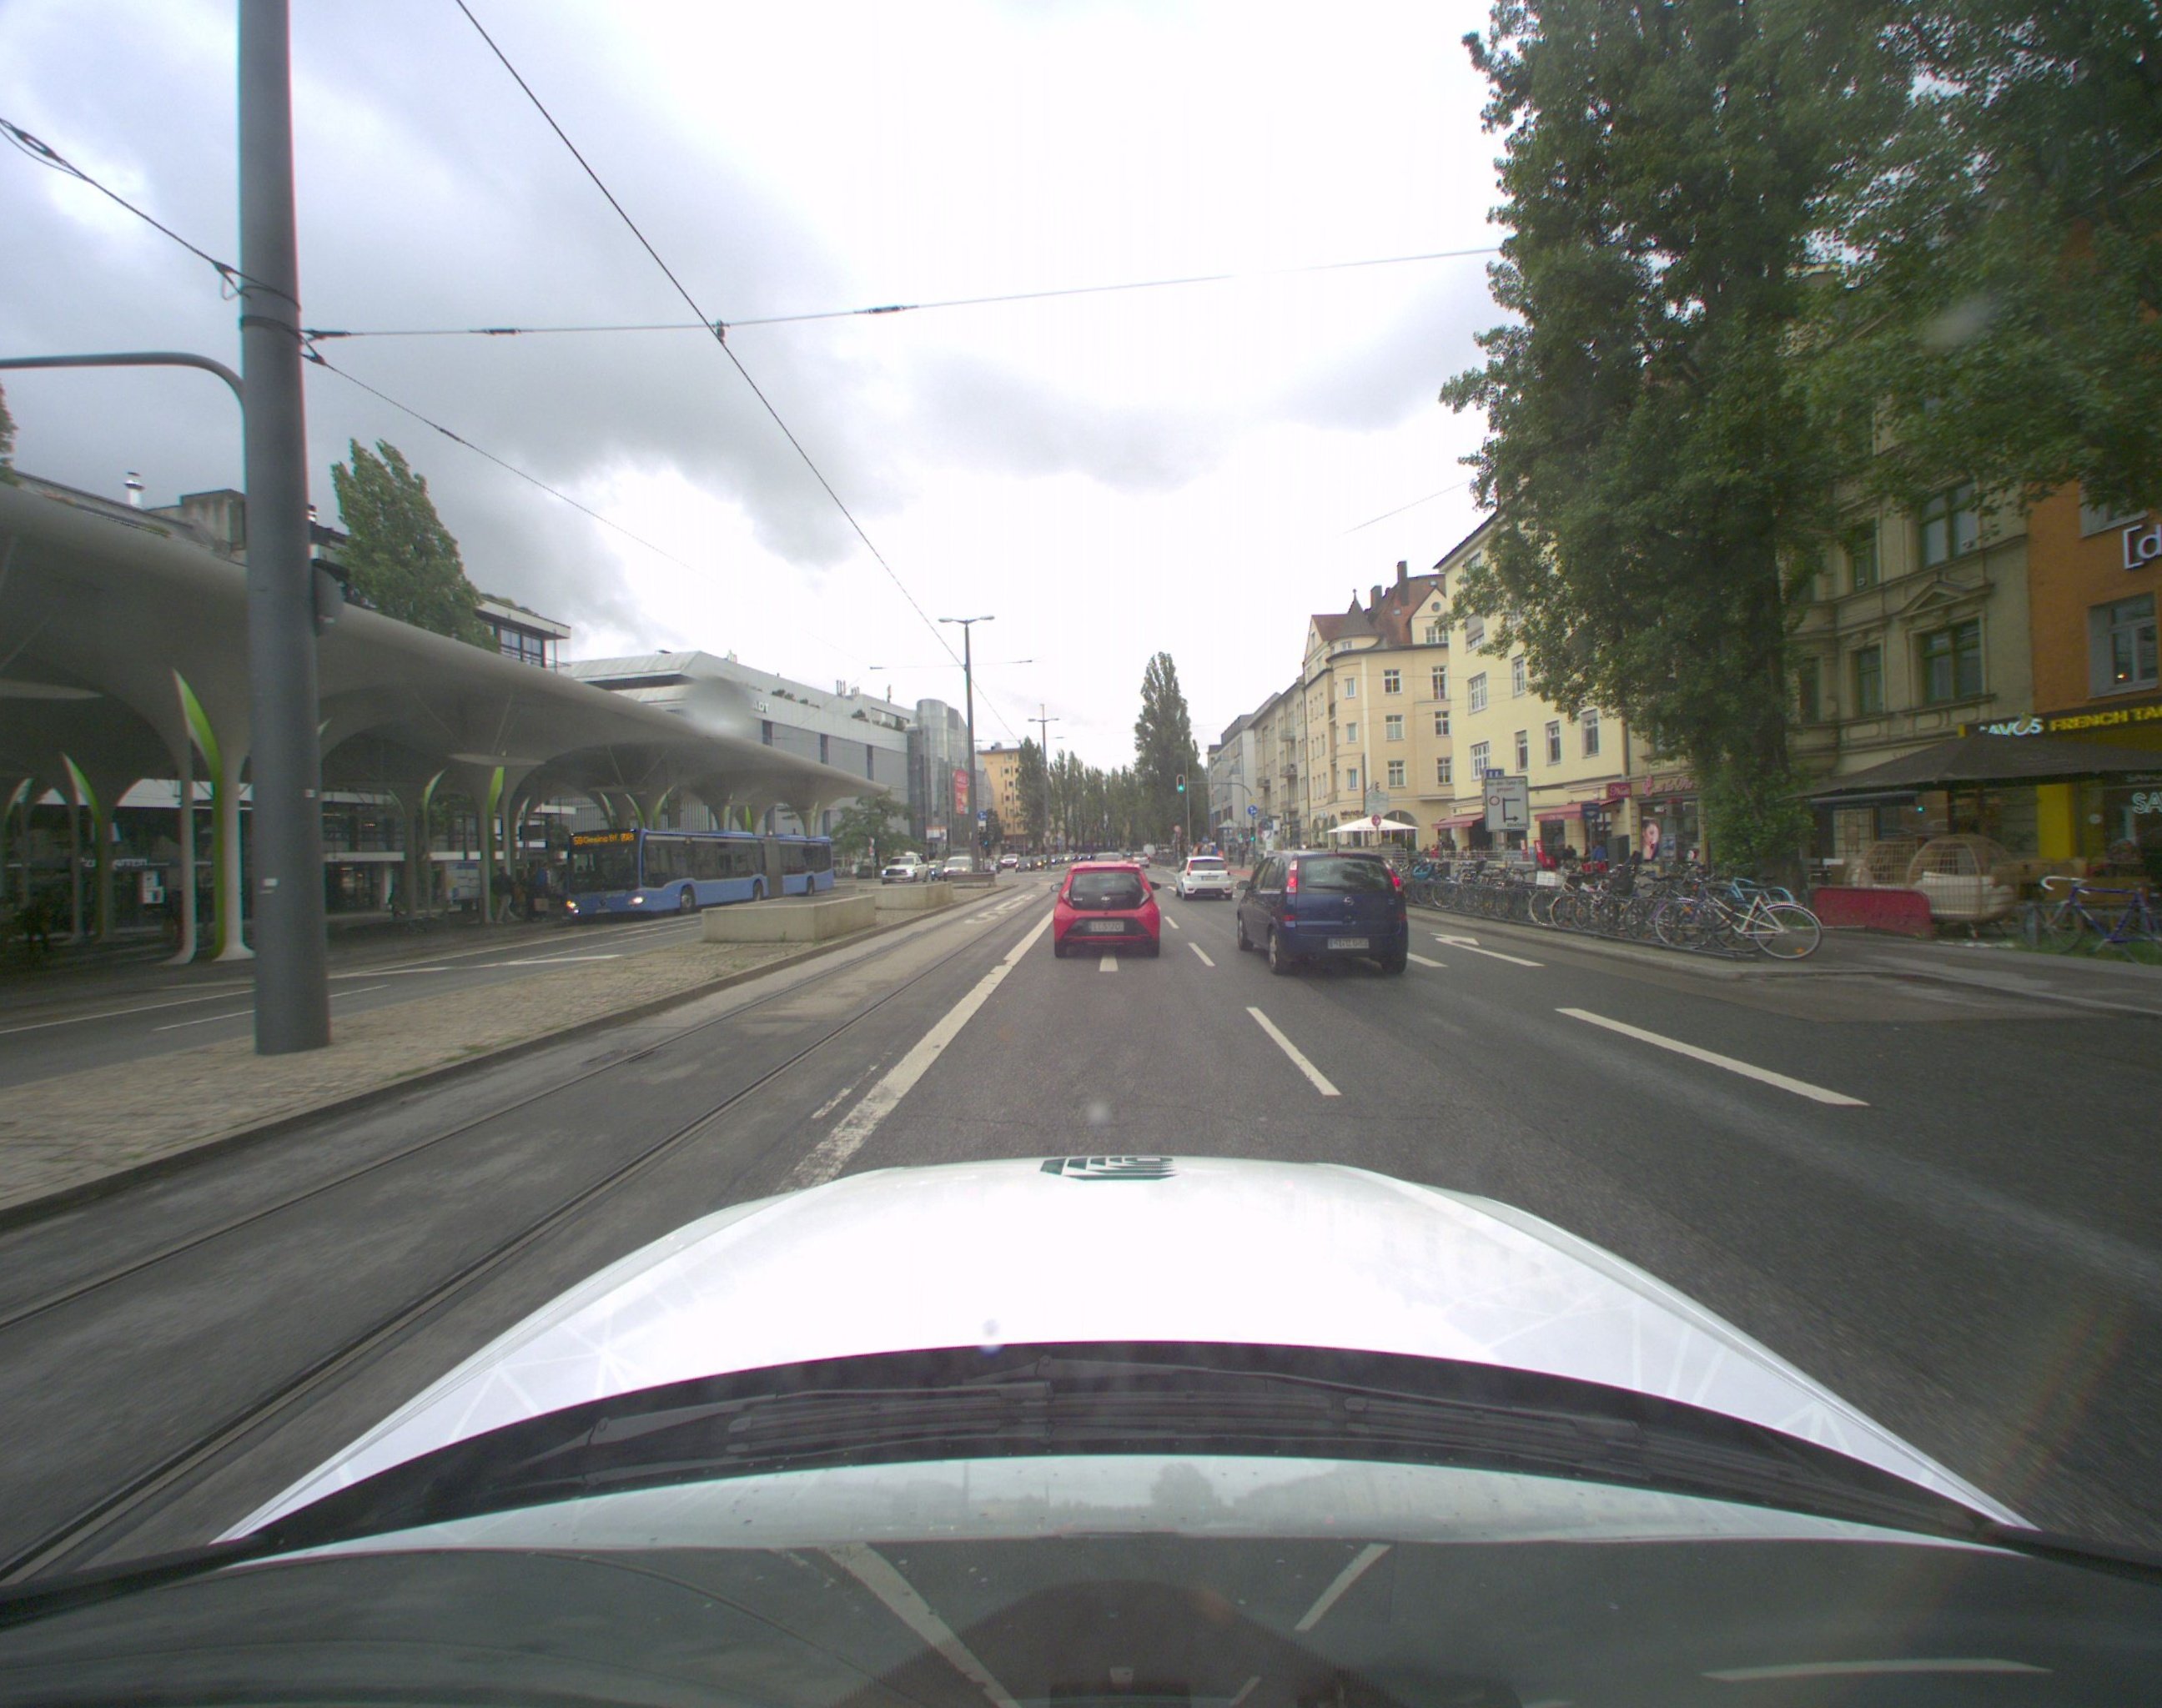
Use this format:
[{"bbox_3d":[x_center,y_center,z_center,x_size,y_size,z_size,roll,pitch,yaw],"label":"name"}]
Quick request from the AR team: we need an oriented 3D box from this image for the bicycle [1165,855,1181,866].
[{"bbox_3d":[9.100,0.606,80.551,0.502,1.028,1.582,-2,0,-40],"label":"bicycle"}]

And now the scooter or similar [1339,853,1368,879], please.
[{"bbox_3d":[11.604,0.509,34.714,0.773,1.075,1.256,-2,0,0],"label":"scooter or similar"}]

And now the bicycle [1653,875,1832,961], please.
[{"bbox_3d":[8.764,0.813,10.870,0.377,0.995,1.821,-2,2,-37],"label":"bicycle"}]

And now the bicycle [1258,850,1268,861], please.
[{"bbox_3d":[16.104,0.109,72.199,0.492,0.975,1.867,-2,0,2],"label":"bicycle"}]

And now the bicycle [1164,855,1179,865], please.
[{"bbox_3d":[9.057,0.602,81.408,0.502,1.028,1.582,-2,0,-40],"label":"bicycle"}]

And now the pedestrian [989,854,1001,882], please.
[{"bbox_3d":[-5.053,0.831,47.897,0.466,1.618,0.515,-2,0,-45],"label":"pedestrian"}]

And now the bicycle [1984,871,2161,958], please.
[{"bbox_3d":[11.987,0.674,9.661,0.455,0.892,1.894,-2,0,1],"label":"bicycle"}]

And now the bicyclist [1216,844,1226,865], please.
[{"bbox_3d":[11.165,0.016,65.001,0.611,1.657,1.252,-2,0,3],"label":"bicyclist"}]

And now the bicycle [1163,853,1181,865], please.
[{"bbox_3d":[9.161,0.516,82.066,0.562,1.198,1.782,-2,0,-45],"label":"bicycle"}]

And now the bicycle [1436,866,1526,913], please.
[{"bbox_3d":[9.103,0.788,18.587,1.818,0.995,0.327,0,2,39],"label":"bicycle"}]

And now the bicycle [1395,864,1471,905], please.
[{"bbox_3d":[9.187,0.780,21.320,1.819,0.995,0.327,0,2,44],"label":"bicycle"}]

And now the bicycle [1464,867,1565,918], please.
[{"bbox_3d":[9.101,0.793,17.141,1.818,0.995,0.378,0,2,39],"label":"bicycle"}]

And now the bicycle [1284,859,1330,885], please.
[{"bbox_3d":[9.434,0.753,34.030,1.818,0.996,0.350,-3,-1,42],"label":"bicycle"}]

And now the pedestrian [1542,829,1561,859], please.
[{"bbox_3d":[22.237,-0.451,38.479,0.543,1.397,0.548,-2,0,-25],"label":"pedestrian"}]

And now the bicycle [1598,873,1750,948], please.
[{"bbox_3d":[8.885,0.808,12.273,0.377,0.995,1.821,-2,2,-37],"label":"bicycle"}]

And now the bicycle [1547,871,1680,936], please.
[{"bbox_3d":[8.946,0.803,13.741,1.819,0.995,0.377,0,2,44],"label":"bicycle"}]

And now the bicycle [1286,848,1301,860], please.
[{"bbox_3d":[18.822,0.030,72.212,0.495,1.059,1.858,-2,0,-13],"label":"bicycle"}]

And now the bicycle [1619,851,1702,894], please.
[{"bbox_3d":[14.817,0.475,20.852,1.711,1.045,0.389,-1,1,12],"label":"bicycle"}]

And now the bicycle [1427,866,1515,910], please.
[{"bbox_3d":[9.180,0.786,19.199,1.818,0.995,0.327,0,1,34],"label":"bicycle"}]

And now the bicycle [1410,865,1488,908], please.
[{"bbox_3d":[9.178,0.782,20.370,0.327,0.995,1.820,-2,2,-41],"label":"bicycle"}]

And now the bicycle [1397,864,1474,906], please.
[{"bbox_3d":[9.062,0.781,20.881,0.327,0.995,1.820,-2,2,-41],"label":"bicycle"}]

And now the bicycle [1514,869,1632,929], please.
[{"bbox_3d":[9.036,0.800,15.020,0.377,0.995,1.819,-2,2,-44],"label":"bicycle"}]

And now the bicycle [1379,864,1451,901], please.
[{"bbox_3d":[9.274,0.775,22.683,1.818,0.995,0.327,0,2,39],"label":"bicycle"}]

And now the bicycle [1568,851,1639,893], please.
[{"bbox_3d":[13.935,0.474,21.732,1.719,1.045,0.387,-1,1,-5],"label":"bicycle"}]

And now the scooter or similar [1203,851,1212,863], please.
[{"bbox_3d":[13.338,0.293,85.950,0.360,1.176,1.356,-3,0,32],"label":"scooter or similar"}]

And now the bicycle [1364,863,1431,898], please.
[{"bbox_3d":[9.343,0.771,24.054,1.818,0.995,0.327,0,2,39],"label":"bicycle"}]

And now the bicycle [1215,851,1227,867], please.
[{"bbox_3d":[11.191,0.393,64.977,0.611,1.265,2.521,-2,0,3],"label":"bicycle"}]

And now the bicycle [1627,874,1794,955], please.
[{"bbox_3d":[8.834,0.811,11.510,0.377,0.995,1.821,-2,2,-37],"label":"bicycle"}]

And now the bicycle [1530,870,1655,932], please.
[{"bbox_3d":[9.009,0.802,14.397,1.818,0.995,0.378,0,2,40],"label":"bicycle"}]

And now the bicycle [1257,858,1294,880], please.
[{"bbox_3d":[9.624,0.745,40.357,0.350,0.996,1.819,-2,-1,-43],"label":"bicycle"}]

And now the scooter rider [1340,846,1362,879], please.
[{"bbox_3d":[11.558,0.356,34.843,0.698,1.389,0.643,-2,0,0],"label":"scooter rider"}]

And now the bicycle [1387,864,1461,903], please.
[{"bbox_3d":[9.230,0.778,21.972,1.819,0.995,0.327,0,2,44],"label":"bicycle"}]

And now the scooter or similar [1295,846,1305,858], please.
[{"bbox_3d":[18.453,-0.154,68.624,0.814,0.994,0.595,-2,3,10],"label":"scooter or similar"}]

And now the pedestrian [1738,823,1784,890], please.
[{"bbox_3d":[17.901,0.066,21.461,0.598,1.739,0.666,-2,0,2],"label":"pedestrian"}]

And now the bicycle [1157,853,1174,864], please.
[{"bbox_3d":[9.104,0.521,87.651,1.781,1.158,0.656,-2,0,38],"label":"bicycle"}]

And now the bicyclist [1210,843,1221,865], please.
[{"bbox_3d":[11.718,0.002,70.972,0.759,1.869,1.133,-2,0,3],"label":"bicyclist"}]

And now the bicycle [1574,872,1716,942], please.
[{"bbox_3d":[8.934,0.806,12.967,0.377,0.995,1.820,-2,2,-43],"label":"bicycle"}]

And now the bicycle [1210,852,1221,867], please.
[{"bbox_3d":[11.729,0.447,70.835,0.611,1.265,2.521,-2,0,3],"label":"bicycle"}]

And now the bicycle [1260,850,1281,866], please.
[{"bbox_3d":[15.726,0.336,67.686,1.561,1.160,0.525,-3,2,4],"label":"bicycle"}]

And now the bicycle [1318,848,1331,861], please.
[{"bbox_3d":[21.793,0.059,72.959,0.493,1.089,1.864,-2,0,-3],"label":"bicycle"}]

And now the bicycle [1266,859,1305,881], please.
[{"bbox_3d":[9.586,0.751,38.200,0.350,0.996,1.819,-2,-1,-43],"label":"bicycle"}]

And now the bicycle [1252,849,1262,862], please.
[{"bbox_3d":[15.606,0.110,72.231,0.564,1.107,1.867,-2,0,2],"label":"bicycle"}]

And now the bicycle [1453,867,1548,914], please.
[{"bbox_3d":[9.192,0.788,17.886,1.819,0.995,0.377,-1,1,26],"label":"bicycle"}]

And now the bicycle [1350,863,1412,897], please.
[{"bbox_3d":[9.176,0.782,24.976,0.327,0.995,1.819,-2,2,-43],"label":"bicycle"}]

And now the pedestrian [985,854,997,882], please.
[{"bbox_3d":[-5.332,0.832,48.184,0.489,1.618,0.552,-2,0,-33],"label":"pedestrian"}]

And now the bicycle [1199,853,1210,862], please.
[{"bbox_3d":[14.087,0.368,93.185,1.175,0.963,0.370,-2,0,6],"label":"bicycle"}]

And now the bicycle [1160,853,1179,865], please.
[{"bbox_3d":[9.231,0.496,84.952,1.782,1.158,0.490,-2,0,28],"label":"bicycle"}]

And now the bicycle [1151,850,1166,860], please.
[{"bbox_3d":[9.406,0.170,99.469,1.815,1.136,0.590,-2,0,45],"label":"bicycle"}]

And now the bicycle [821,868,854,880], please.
[{"bbox_3d":[-27.518,2.241,92.081,3.468,1.156,1.064,-2,0,14],"label":"bicycle"}]

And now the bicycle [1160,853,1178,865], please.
[{"bbox_3d":[9.095,0.498,84.146,1.782,1.158,0.551,-2,0,40],"label":"bicycle"}]

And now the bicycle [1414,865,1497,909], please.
[{"bbox_3d":[9.107,0.784,19.852,1.819,0.995,0.327,0,2,44],"label":"bicycle"}]

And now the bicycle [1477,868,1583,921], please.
[{"bbox_3d":[9.017,0.796,16.395,1.818,0.995,0.378,0,2,39],"label":"bicycle"}]

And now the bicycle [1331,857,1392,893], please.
[{"bbox_3d":[9.279,0.707,26.998,1.818,1.112,0.470,-2,0,34],"label":"bicycle"}]

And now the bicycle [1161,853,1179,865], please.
[{"bbox_3d":[9.158,0.500,83.461,1.782,1.158,0.551,-2,0,40],"label":"bicycle"}]

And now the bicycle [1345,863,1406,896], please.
[{"bbox_3d":[9.264,0.780,25.668,1.819,0.995,0.327,0,2,42],"label":"bicycle"}]

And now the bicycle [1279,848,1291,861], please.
[{"bbox_3d":[18.046,0.038,71.965,0.493,1.059,1.865,-2,0,-2],"label":"bicycle"}]

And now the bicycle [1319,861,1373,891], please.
[{"bbox_3d":[9.251,0.771,28.476,0.350,0.996,1.819,-2,-1,-44],"label":"bicycle"}]

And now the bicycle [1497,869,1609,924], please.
[{"bbox_3d":[9.103,0.797,15.756,1.818,0.995,0.378,0,2,39],"label":"bicycle"}]

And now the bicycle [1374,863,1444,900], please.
[{"bbox_3d":[9.359,0.773,23.284,1.818,0.995,0.327,0,2,39],"label":"bicycle"}]

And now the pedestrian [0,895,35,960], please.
[{"bbox_3d":[-27.771,1.902,20.995,0.643,1.618,0.701,-2,0,6],"label":"pedestrian"}]
